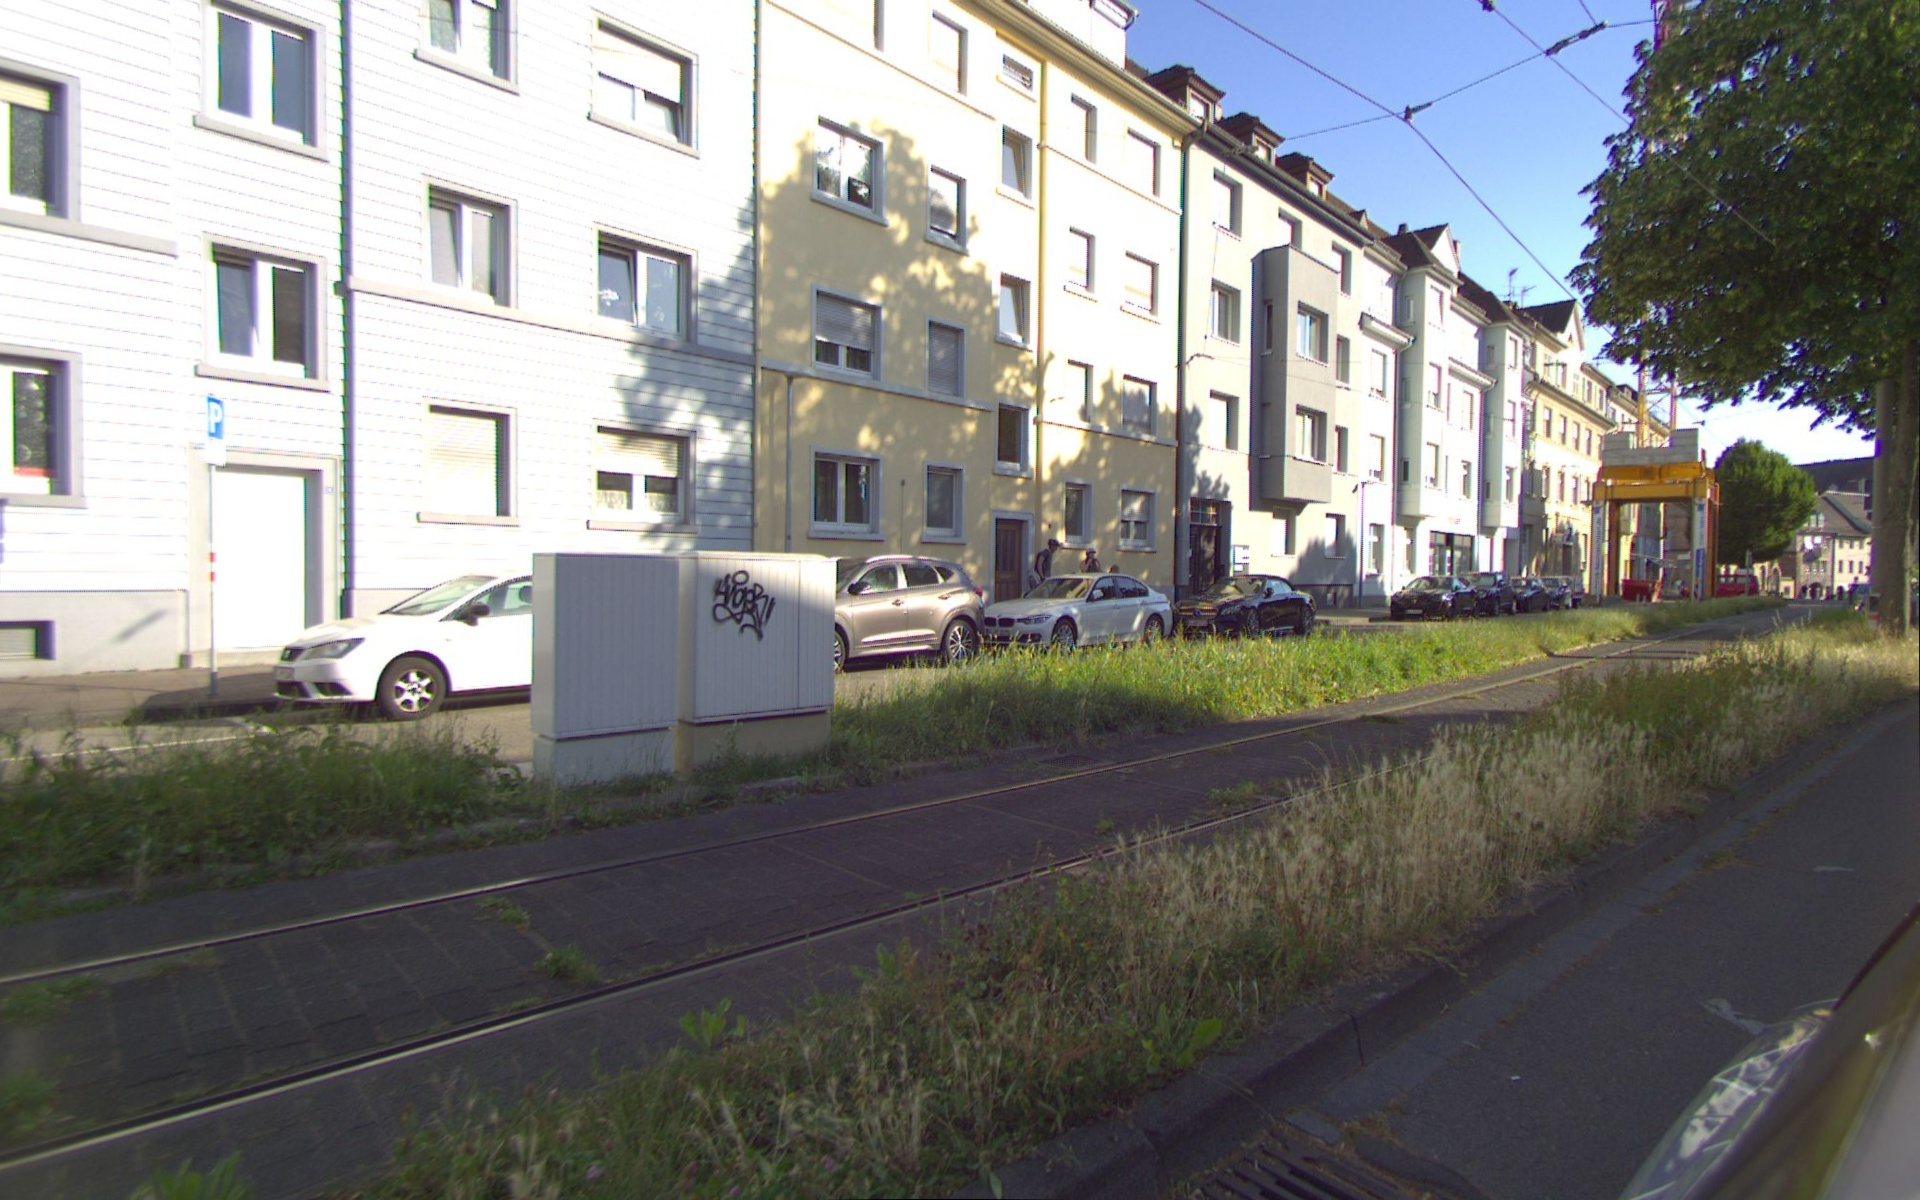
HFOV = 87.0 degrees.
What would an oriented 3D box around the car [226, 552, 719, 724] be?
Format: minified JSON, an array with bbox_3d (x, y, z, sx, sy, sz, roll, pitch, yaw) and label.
[{"bbox_3d":[-5.010,0.283,10.937,1.991,1.403,4.384,4,3,39],"label":"car"}]

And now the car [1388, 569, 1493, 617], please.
[{"bbox_3d":[16.098,-0.237,33.800,1.993,1.403,4.379,4,3,41],"label":"car"}]

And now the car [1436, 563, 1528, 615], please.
[{"bbox_3d":[19.445,-0.418,37.622,1.993,1.770,4.146,4,3,42],"label":"car"}]

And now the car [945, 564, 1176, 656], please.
[{"bbox_3d":[1.955,0.127,18.523,1.993,1.403,4.379,4,3,41],"label":"car"}]

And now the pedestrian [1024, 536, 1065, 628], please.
[{"bbox_3d":[1.922,-0.410,22.973,0.612,2.038,0.639,3,2,42],"label":"pedestrian"}]

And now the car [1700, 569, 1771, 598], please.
[{"bbox_3d":[58.374,-1.269,76.227,4.056,1.944,1.971,4,3,41],"label":"car"}]

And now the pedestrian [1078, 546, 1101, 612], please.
[{"bbox_3d":[3.064,-0.490,23.940,0.303,1.533,0.438,4,3,35],"label":"pedestrian"}]

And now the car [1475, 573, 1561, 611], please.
[{"bbox_3d":[22.811,-0.323,41.333,1.995,1.403,4.142,5,3,44],"label":"car"}]

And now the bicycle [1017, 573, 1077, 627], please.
[{"bbox_3d":[1.984,-0.022,22.911,0.534,1.145,1.493,4,4,42],"label":"bicycle"}]

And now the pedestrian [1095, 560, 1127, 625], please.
[{"bbox_3d":[3.454,-0.177,23.184,0.523,1.458,0.454,3,3,43],"label":"pedestrian"}]

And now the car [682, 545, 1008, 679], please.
[{"bbox_3d":[-1.516,0.056,14.762,1.993,1.591,4.572,4,4,41],"label":"car"}]

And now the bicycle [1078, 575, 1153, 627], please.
[{"bbox_3d":[3.620,0.000,23.387,0.534,1.145,2.273,3,3,41],"label":"bicycle"}]

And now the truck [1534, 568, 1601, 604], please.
[{"bbox_3d":[29.544,-0.679,49.204,1.993,1.605,4.035,4,3,42],"label":"truck"}]

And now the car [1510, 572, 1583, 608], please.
[{"bbox_3d":[26.096,-0.451,44.984,1.993,1.470,4.035,4,3,42],"label":"car"}]

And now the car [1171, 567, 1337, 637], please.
[{"bbox_3d":[6.919,0.015,23.560,1.993,1.403,4.379,4,3,41],"label":"car"}]
